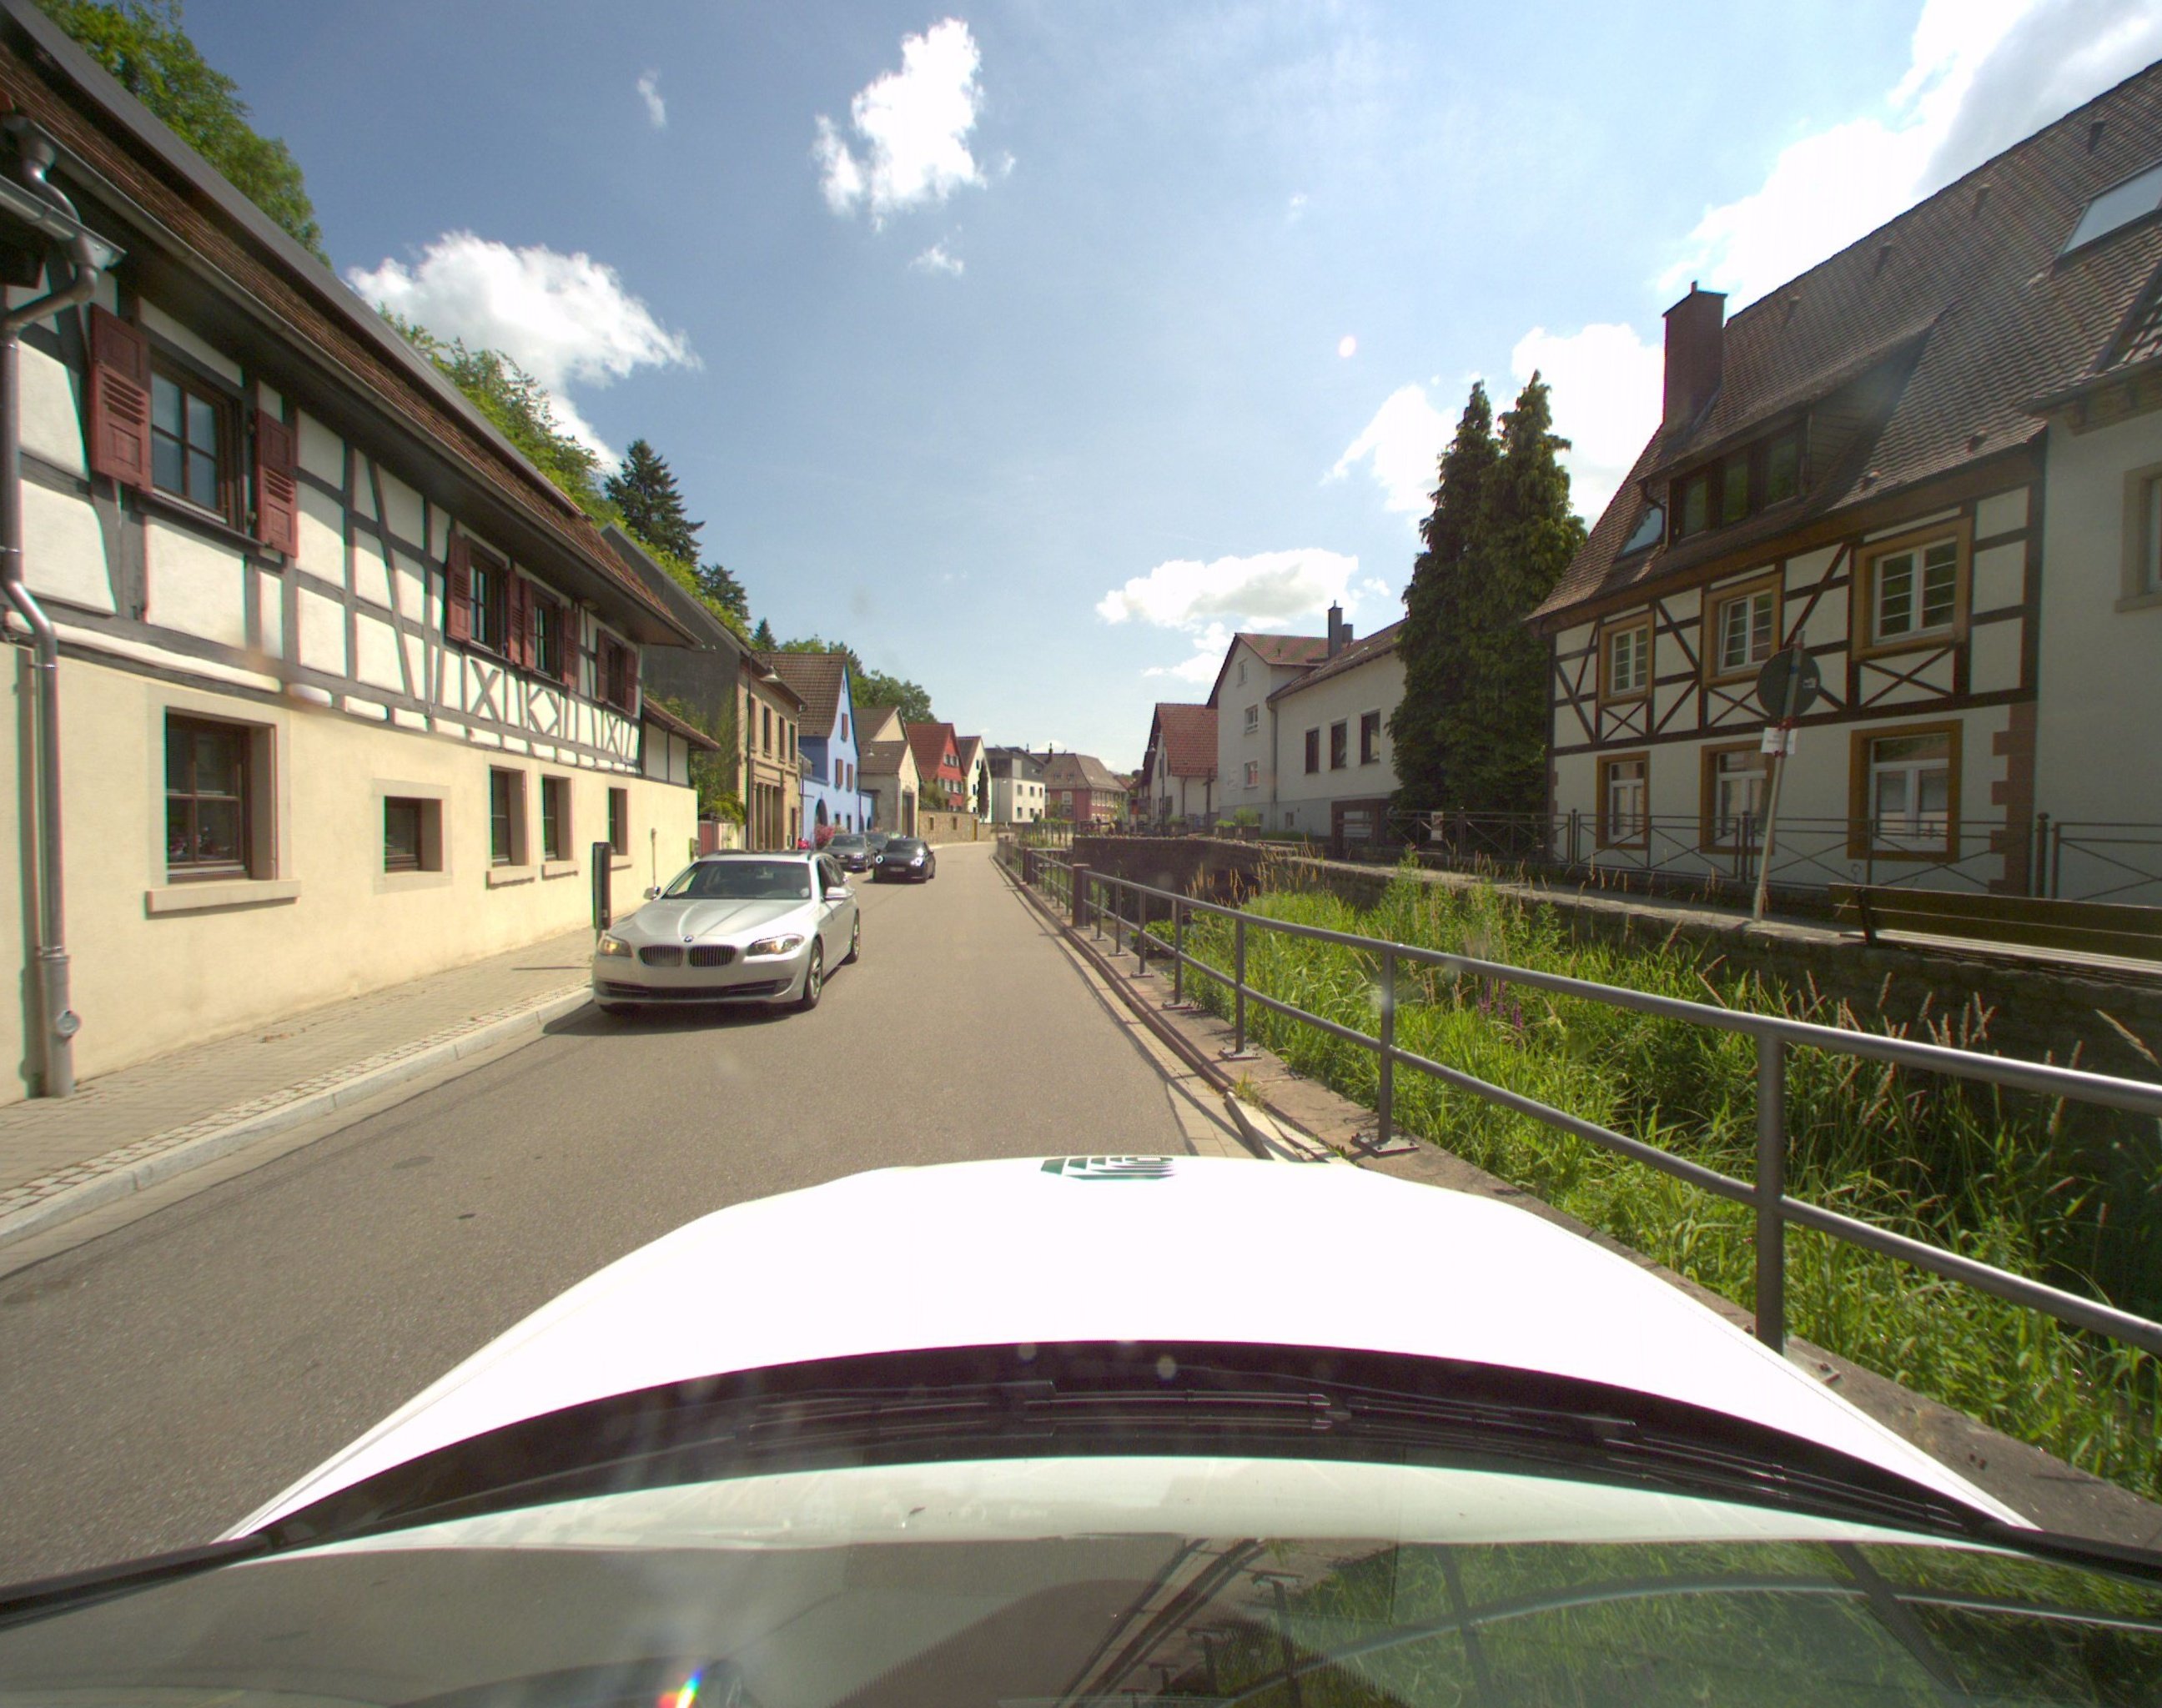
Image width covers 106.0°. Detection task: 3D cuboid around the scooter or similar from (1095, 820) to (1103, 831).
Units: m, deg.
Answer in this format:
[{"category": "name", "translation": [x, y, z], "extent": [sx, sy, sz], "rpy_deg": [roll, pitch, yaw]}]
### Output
[{"category": "scooter or similar", "translation": [1.915, -3.026, 86.124], "extent": [0.641, 1.142, 1.807], "rpy_deg": [-1, 2, -7]}]

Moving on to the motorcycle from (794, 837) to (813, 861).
[{"category": "motorcycle", "translation": [-12.167, -0.243, 35.736], "extent": [0.417, 1.001, 1.852], "rpy_deg": [5, 0, -10]}]

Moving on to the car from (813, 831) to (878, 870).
[{"category": "car", "translation": [-9.410, -0.179, 32.890], "extent": [1.956, 1.465, 4.532], "rpy_deg": [1, 1, -9]}]

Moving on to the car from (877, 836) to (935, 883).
[{"category": "car", "translation": [-5.968, 0.129, 28.102], "extent": [1.698, 1.465, 4.421], "rpy_deg": [-1, 1, -9]}]

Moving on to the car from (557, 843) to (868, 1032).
[{"category": "car", "translation": [-3.609, 0.649, 8.999], "extent": [1.894, 1.500, 4.600], "rpy_deg": [-1, 1, -8]}]

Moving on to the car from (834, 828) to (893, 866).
[{"category": "car", "translation": [-9.962, -0.364, 37.631], "extent": [1.883, 1.463, 4.658], "rpy_deg": [3, 2, -7]}]

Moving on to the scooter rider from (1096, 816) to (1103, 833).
[{"category": "scooter rider", "translation": [1.907, -3.143, 86.182], "extent": [0.641, 1.731, 0.553], "rpy_deg": [1, 1, -8]}]
